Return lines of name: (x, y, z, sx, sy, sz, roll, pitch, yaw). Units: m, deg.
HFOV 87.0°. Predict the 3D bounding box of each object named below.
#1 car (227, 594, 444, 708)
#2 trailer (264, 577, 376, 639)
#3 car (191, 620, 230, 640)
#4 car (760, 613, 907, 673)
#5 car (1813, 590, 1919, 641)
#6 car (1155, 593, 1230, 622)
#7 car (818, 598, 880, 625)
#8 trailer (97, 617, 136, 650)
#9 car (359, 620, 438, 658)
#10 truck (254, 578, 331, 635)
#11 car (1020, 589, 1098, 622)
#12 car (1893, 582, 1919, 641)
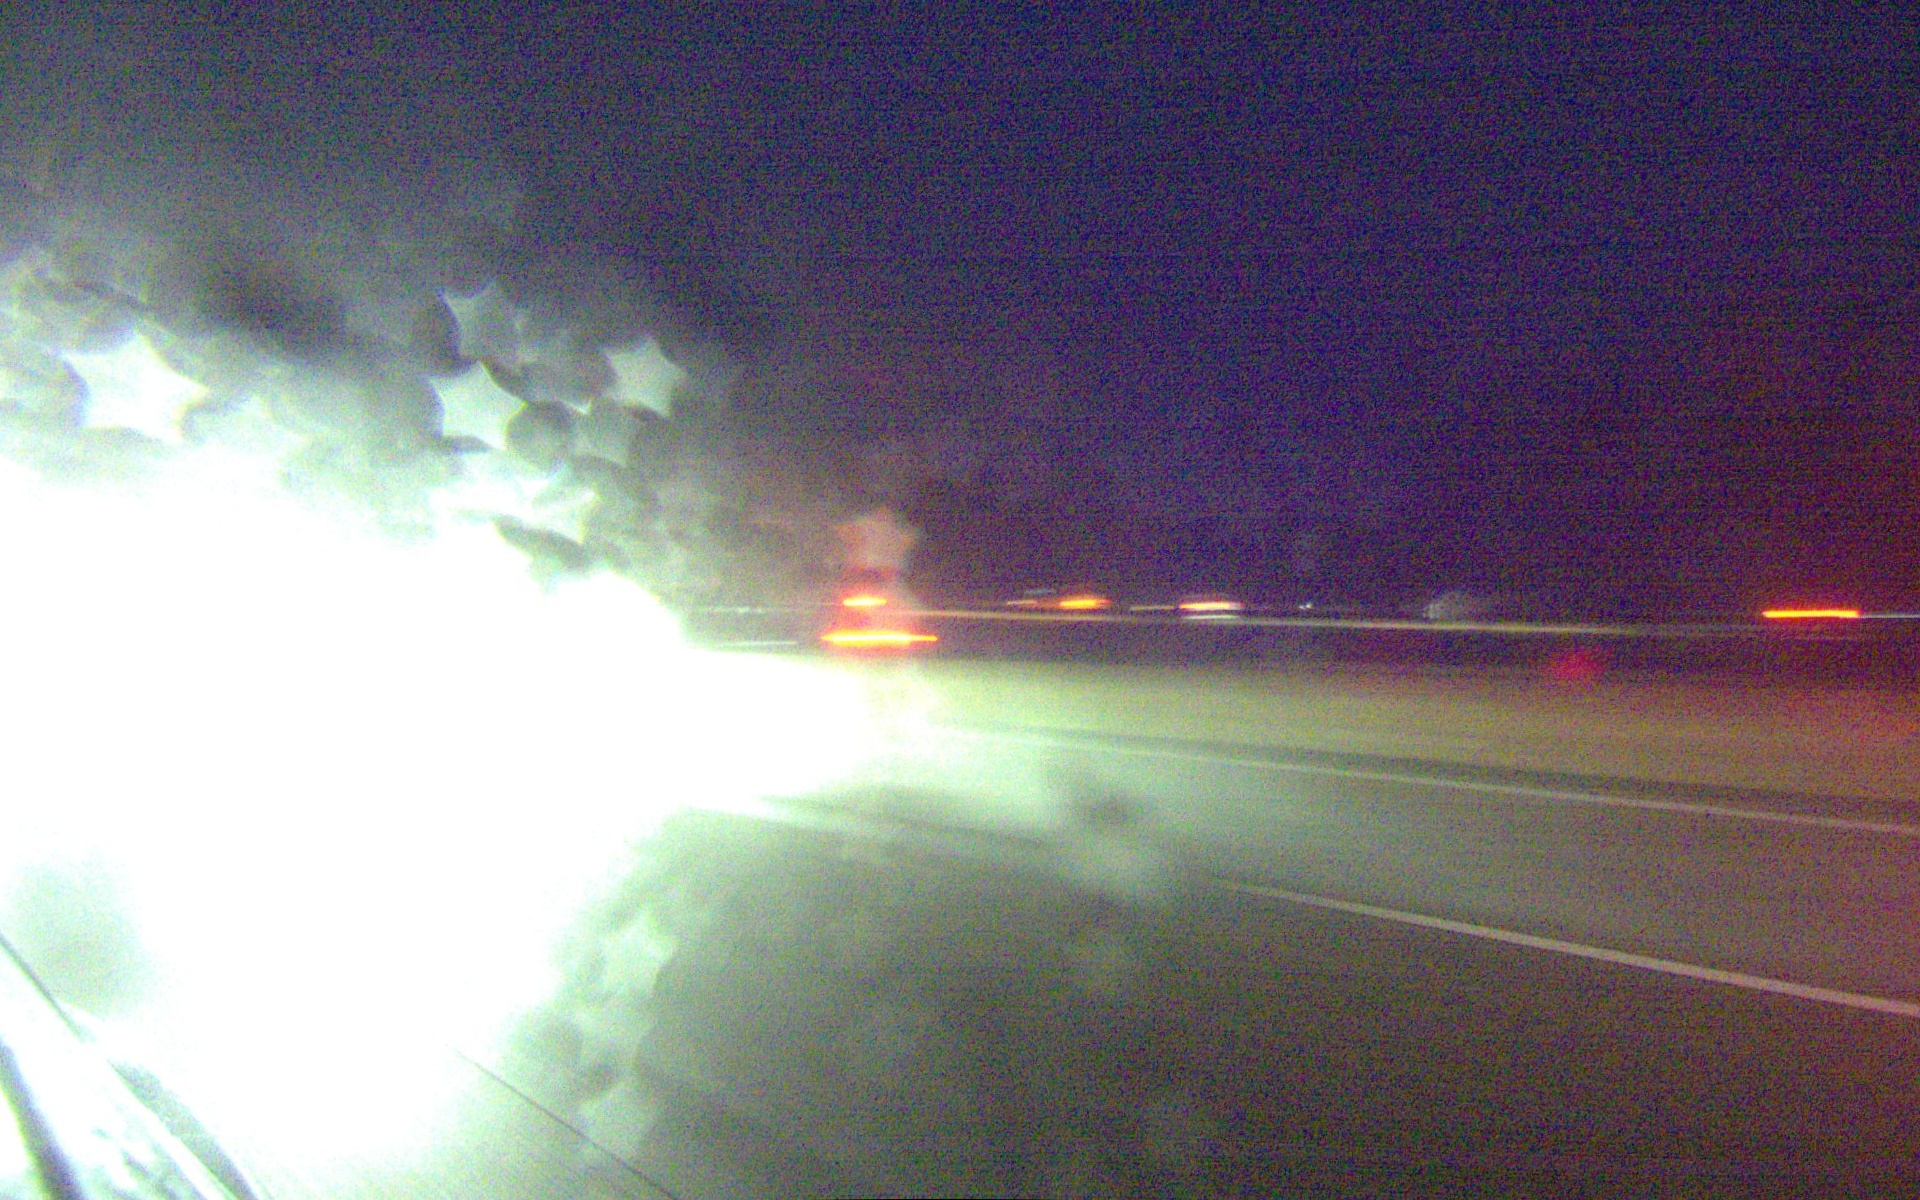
car: (-12.183, 0.848, 19.554, 5.555, 1.898, 2.114, 0, 0, 43)
trailer: (-45.756, 0.495, 72.011, 13.925, 4.029, 2.783, 1, -3, 41)
car: (-54.706, 2.174, 73.854, 3.702, 1.309, 1.597, 0, -3, 43)
car: (-3.677, 1.194, 28.971, 4.290, 1.538, 1.714, 0, -3, 41)
car: (31.935, 0.511, 34.449, 1.969, 1.689, 4.179, 0, -1, -42)
car: (11.644, 0.389, 50.835, 1.747, 1.416, 3.246, 0, -1, -40)
car: (-8.174, 0.849, 74.280, 1.971, 1.947, 4.688, 0, -1, -45)
trailer: (-125.582, 4.928, 150.599, 13.917, 4.578, 2.521, 0, -3, 43)
car: (-25.850, 1.778, 46.552, 4.290, 1.538, 1.820, 0, -3, 41)
truck: (-50.024, 0.465, 75.772, 7.346, 4.036, 2.783, 0, -3, 41)
car: (6.124, 0.380, 62.808, 1.970, 1.947, 4.690, 0, -1, -43)
car: (30.737, 0.301, 29.854, 1.969, 1.785, 4.575, 0, -1, -42)
